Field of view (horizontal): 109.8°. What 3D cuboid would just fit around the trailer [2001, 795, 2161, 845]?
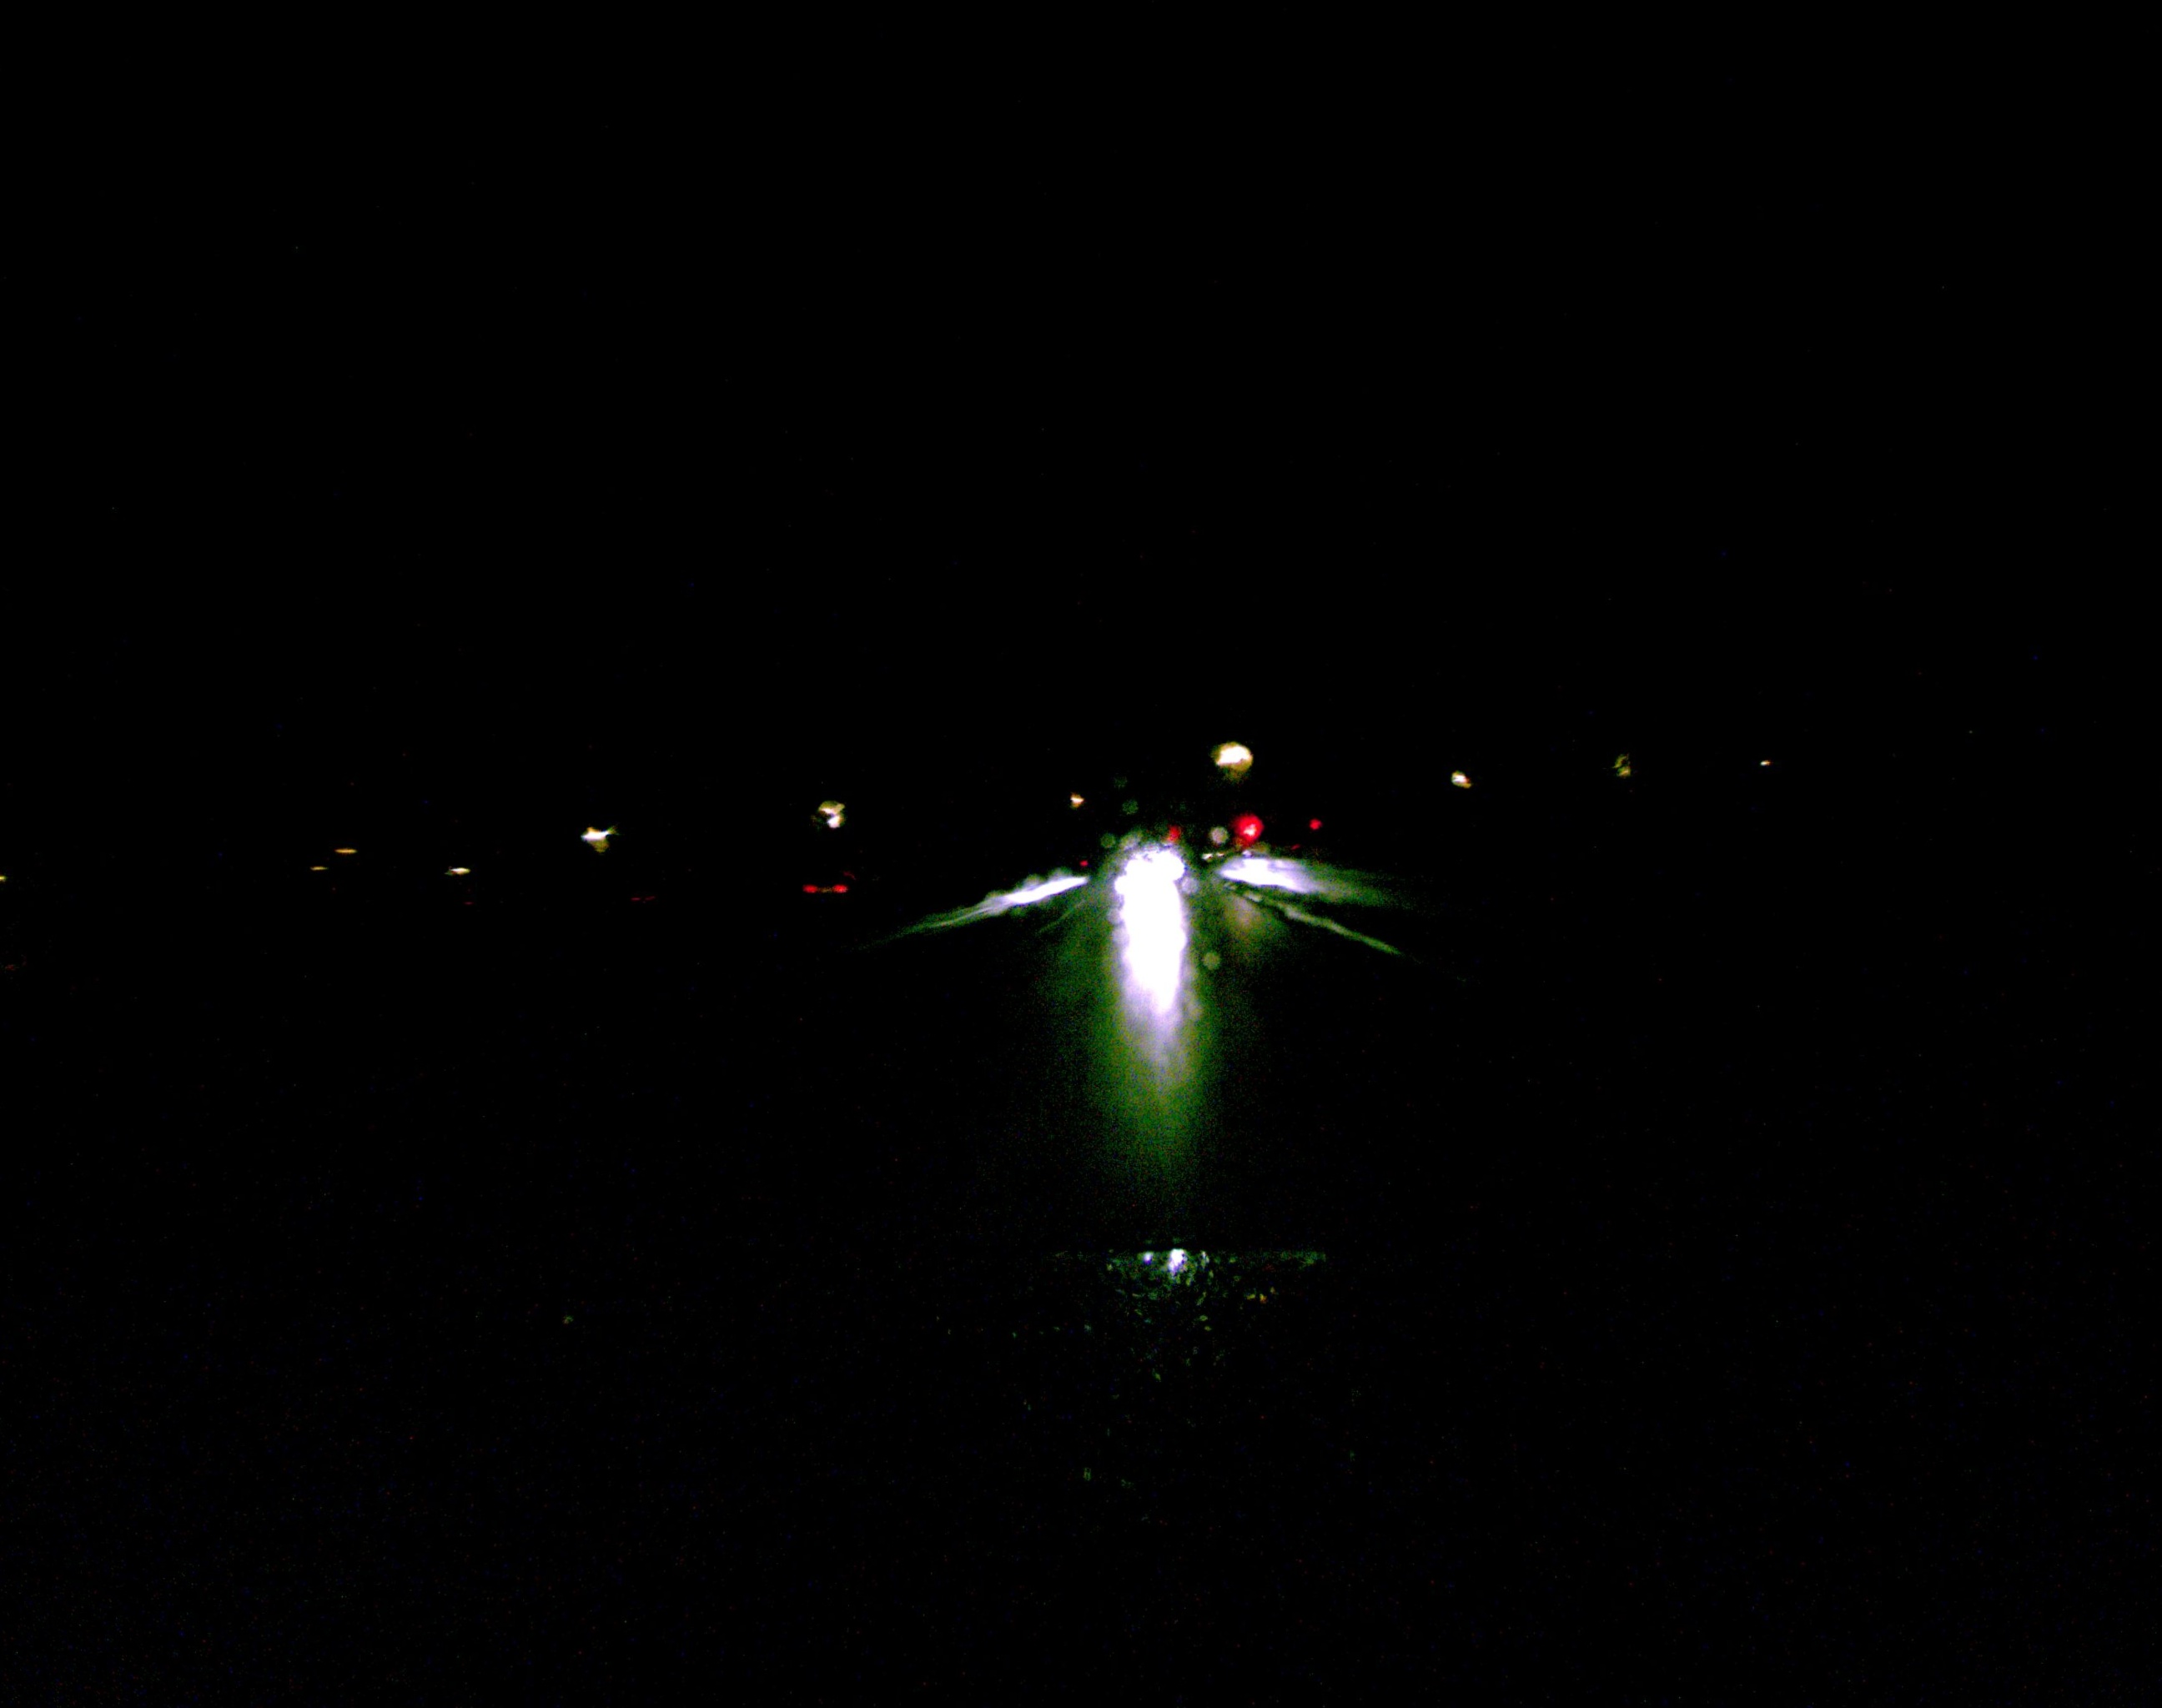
[{"bbox_3d":[90.999,-3.024,66.136,2.602,3.703,13.632,-5,0,-21],"label":"trailer"}]

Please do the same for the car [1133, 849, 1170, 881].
[{"bbox_3d":[4.314,0.648,47.025,1.998,1.737,4.101,-5,0,3],"label":"car"}]

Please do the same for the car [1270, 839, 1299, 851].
[{"bbox_3d":[32.398,-1.417,120.933,4.000,1.432,1.718,-5,-2,-12],"label":"car"}]

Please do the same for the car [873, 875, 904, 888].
[{"bbox_3d":[-26.407,3.735,104.358,4.001,1.432,1.717,-5,-1,-13],"label":"car"}]

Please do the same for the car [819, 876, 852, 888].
[{"bbox_3d":[-33.991,3.923,105.270,4.001,1.432,1.717,-2,-2,-12],"label":"car"}]

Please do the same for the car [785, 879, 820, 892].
[{"bbox_3d":[-37.298,4.261,101.858,4.000,1.432,1.718,-5,-2,-12],"label":"car"}]
